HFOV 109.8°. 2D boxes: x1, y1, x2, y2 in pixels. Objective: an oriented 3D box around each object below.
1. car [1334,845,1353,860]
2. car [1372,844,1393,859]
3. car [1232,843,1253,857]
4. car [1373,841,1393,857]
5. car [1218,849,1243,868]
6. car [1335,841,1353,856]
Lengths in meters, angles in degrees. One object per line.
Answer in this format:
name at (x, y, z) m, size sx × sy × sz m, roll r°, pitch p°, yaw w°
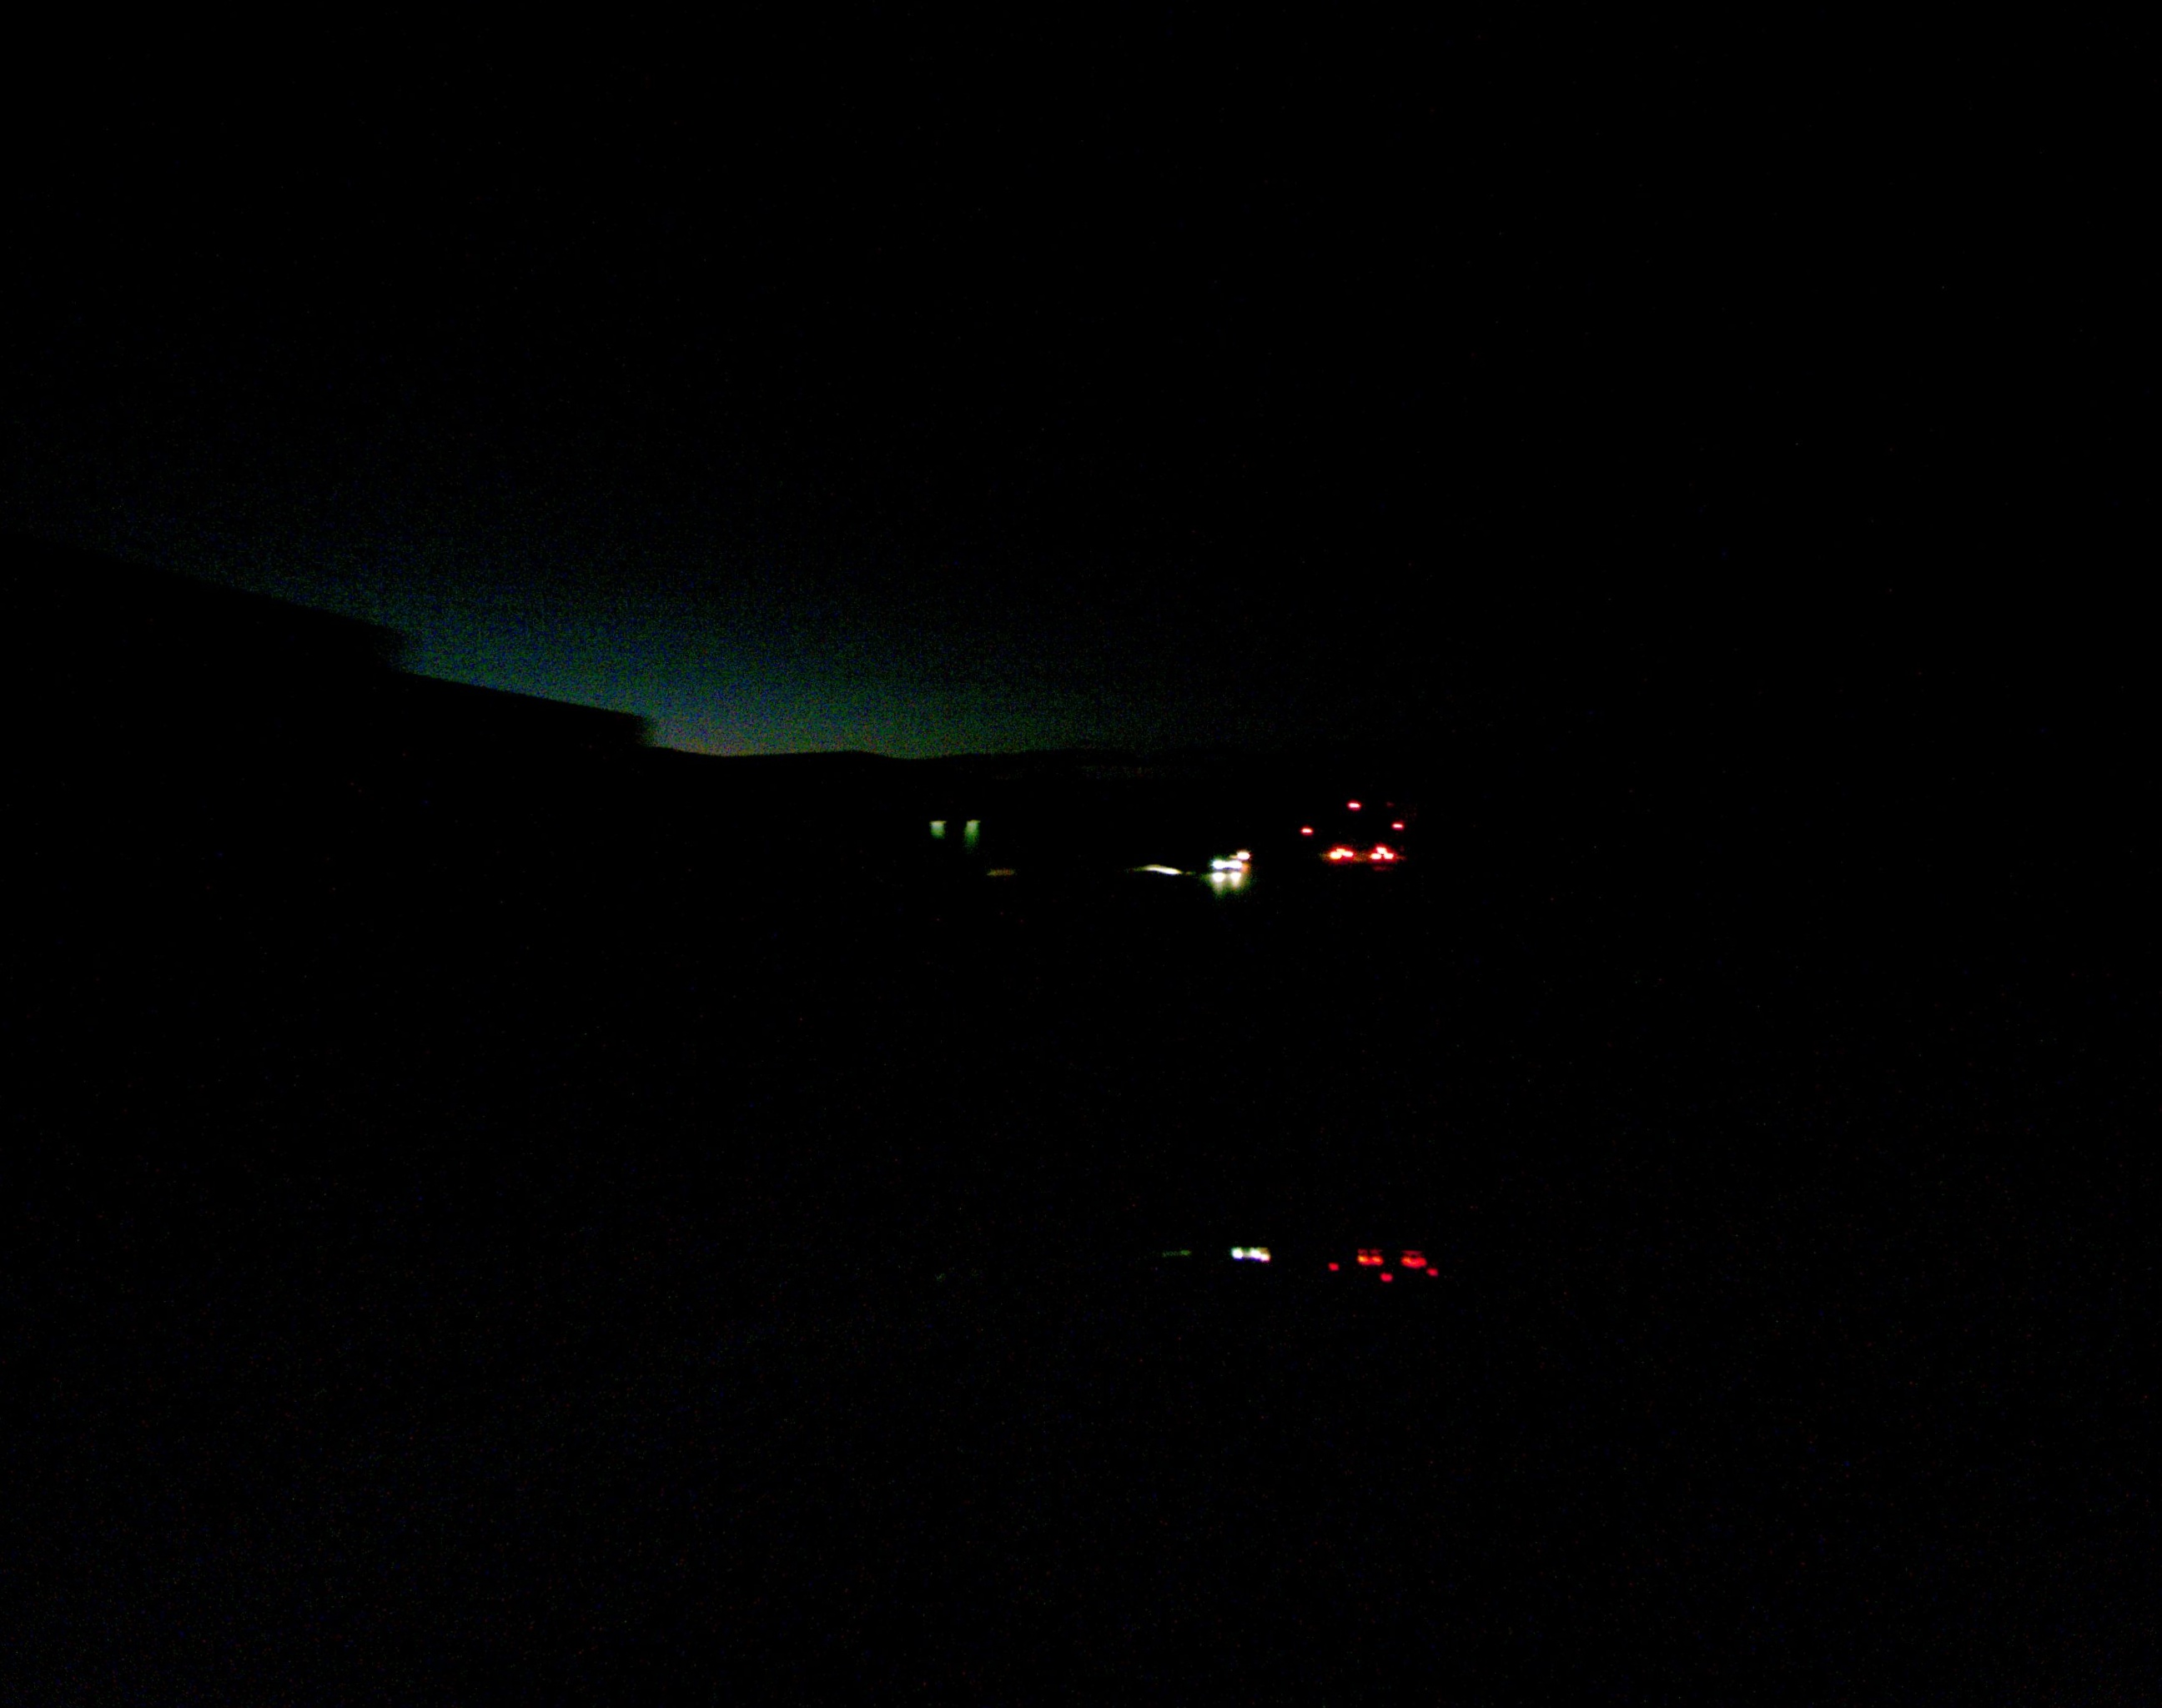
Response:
car at (27.602, -0.217, 79.993) m, size 1.712 × 1.436 × 3.989 m, roll -1°, pitch 2°, yaw 18°
car at (30.867, -0.261, 77.784) m, size 1.685 × 1.451 × 3.816 m, roll 0°, pitch 3°, yaw 18°
car at (18.754, -0.485, 87.979) m, size 1.654 × 1.442 × 3.495 m, roll -1°, pitch 2°, yaw 25°
car at (33.389, -0.593, 84.013) m, size 1.756 × 1.452 × 4.003 m, roll -2°, pitch 3°, yaw 17°
car at (13.001, 0.334, 65.761) m, size 1.760 × 1.451 × 4.196 m, roll -1°, pitch 2°, yaw 16°
car at (30.242, -0.663, 87.530) m, size 1.701 × 1.467 × 3.872 m, roll -2°, pitch 4°, yaw 16°
